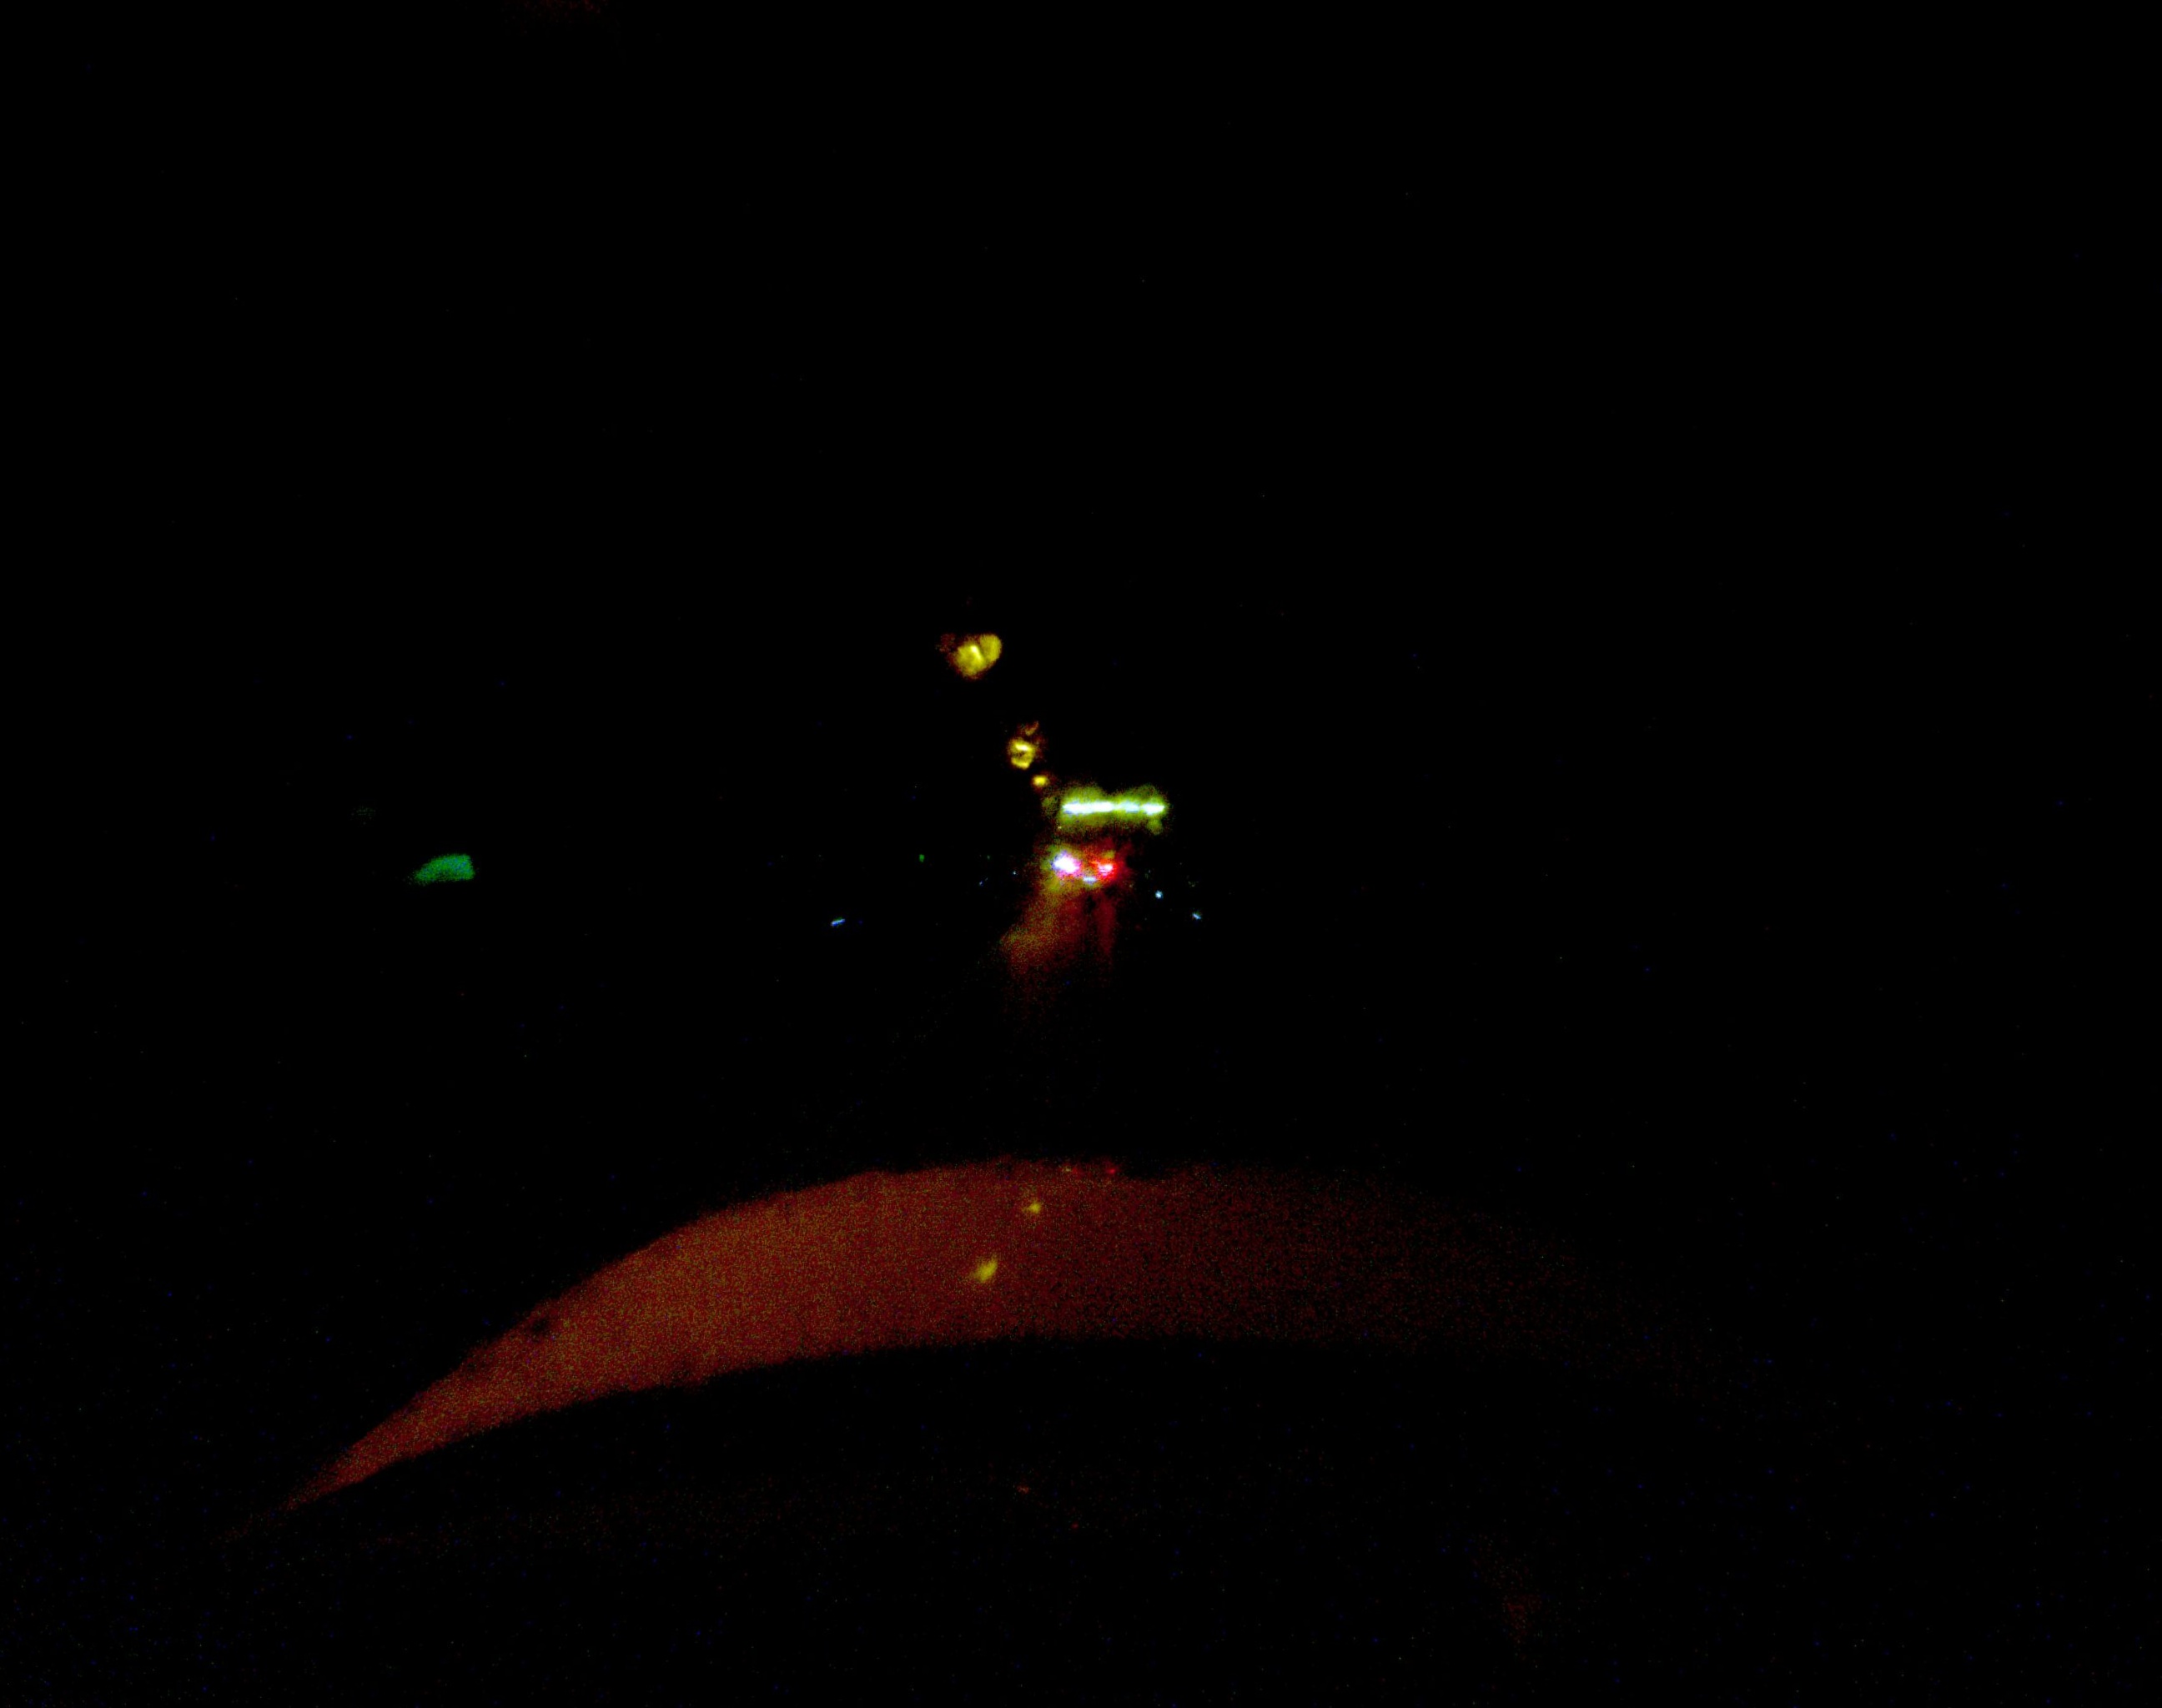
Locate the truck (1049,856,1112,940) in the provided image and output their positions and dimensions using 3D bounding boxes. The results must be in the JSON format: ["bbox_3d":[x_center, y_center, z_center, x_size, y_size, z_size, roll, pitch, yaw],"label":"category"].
[{"bbox_3d":[-0.050,1.617,33.339,2.255,3.011,7.413,1,0,0],"label":"truck"}]
